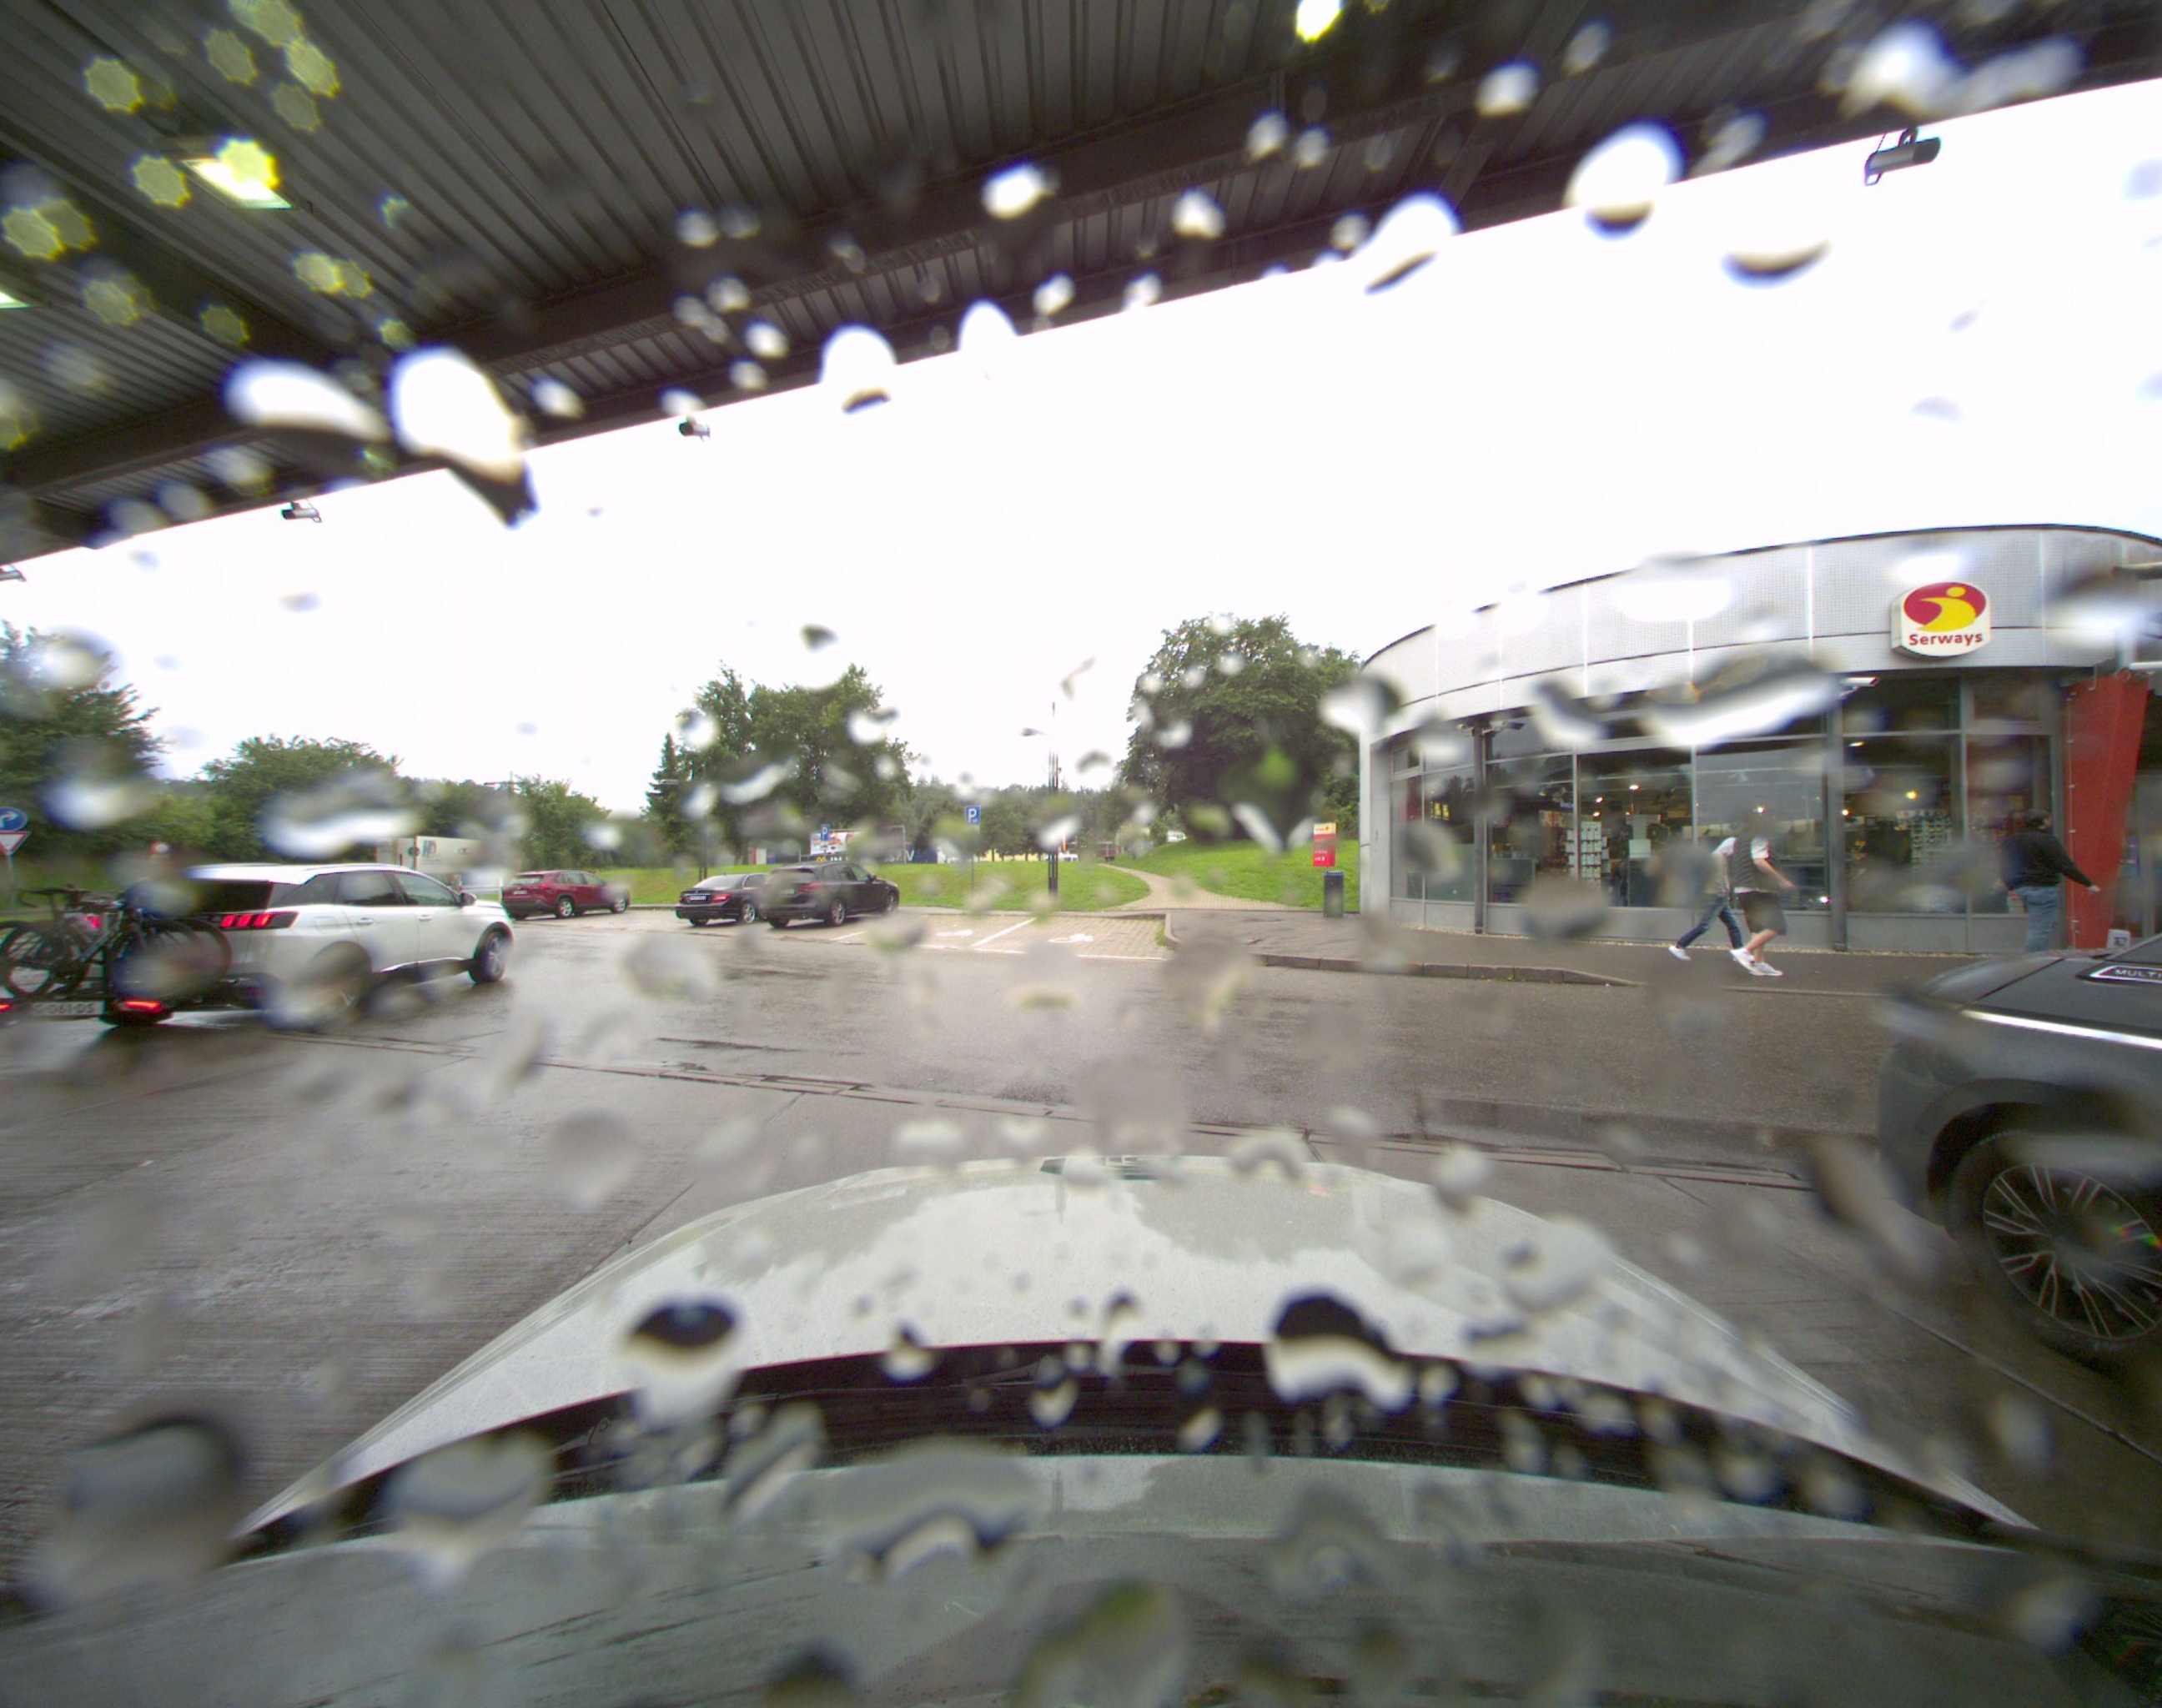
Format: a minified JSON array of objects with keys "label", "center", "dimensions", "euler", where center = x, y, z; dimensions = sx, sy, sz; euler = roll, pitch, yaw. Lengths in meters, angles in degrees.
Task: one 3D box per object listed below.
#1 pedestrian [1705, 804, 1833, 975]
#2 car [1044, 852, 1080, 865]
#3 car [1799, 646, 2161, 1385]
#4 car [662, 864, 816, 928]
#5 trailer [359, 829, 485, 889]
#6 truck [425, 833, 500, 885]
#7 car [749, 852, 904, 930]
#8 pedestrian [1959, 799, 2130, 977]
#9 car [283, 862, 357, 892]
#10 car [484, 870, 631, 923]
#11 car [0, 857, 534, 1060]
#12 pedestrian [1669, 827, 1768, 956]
[{"label":"pedestrian","center":[7.875,0.389,9.381],"dimensions":[0.963,1.848,0.778],"euler":[-2,0,30]},{"label":"car","center":[-3.185,0.797,134.054],"dimensions":[5.376,2.013,2.468],"euler":[-1,0,21]},{"label":"car","center":[3.719,0.420,1.234],"dimensions":[1.809,1.948,4.002],"euler":[-1,0,2]},{"label":"car","center":[-9.613,1.137,23.302],"dimensions":[1.871,1.565,4.200],"euler":[-2,0,13]},{"label":"trailer","center":[-54.881,0.425,68.486],"dimensions":[3.466,4.557,13.827],"euler":[0,-1,-18]},{"label":"truck","center":[-57.104,0.499,75.427],"dimensions":[3.467,4.557,6.694],"euler":[0,-1,-18]},{"label":"car","center":[-6.612,0.887,21.745],"dimensions":[1.871,1.828,4.429],"euler":[-2,0,13]},{"label":"pedestrian","center":[10.747,0.364,9.134],"dimensions":[0.989,1.864,0.804],"euler":[-2,0,30]},{"label":"car","center":[-49.463,1.438,53.046],"dimensions":[1.934,1.838,4.361],"euler":[-1,0,-20]},{"label":"car","center":[-18.155,1.416,28.527],"dimensions":[1.873,1.596,4.364],"euler":[-2,0,8]},{"label":"car","center":[-8.350,0.830,8.885],"dimensions":[1.812,1.565,4.993],"euler":[0,0,-6]},{"label":"pedestrian","center":[8.032,0.456,10.301],"dimensions":[0.880,1.550,0.665],"euler":[-2,0,31]}]
